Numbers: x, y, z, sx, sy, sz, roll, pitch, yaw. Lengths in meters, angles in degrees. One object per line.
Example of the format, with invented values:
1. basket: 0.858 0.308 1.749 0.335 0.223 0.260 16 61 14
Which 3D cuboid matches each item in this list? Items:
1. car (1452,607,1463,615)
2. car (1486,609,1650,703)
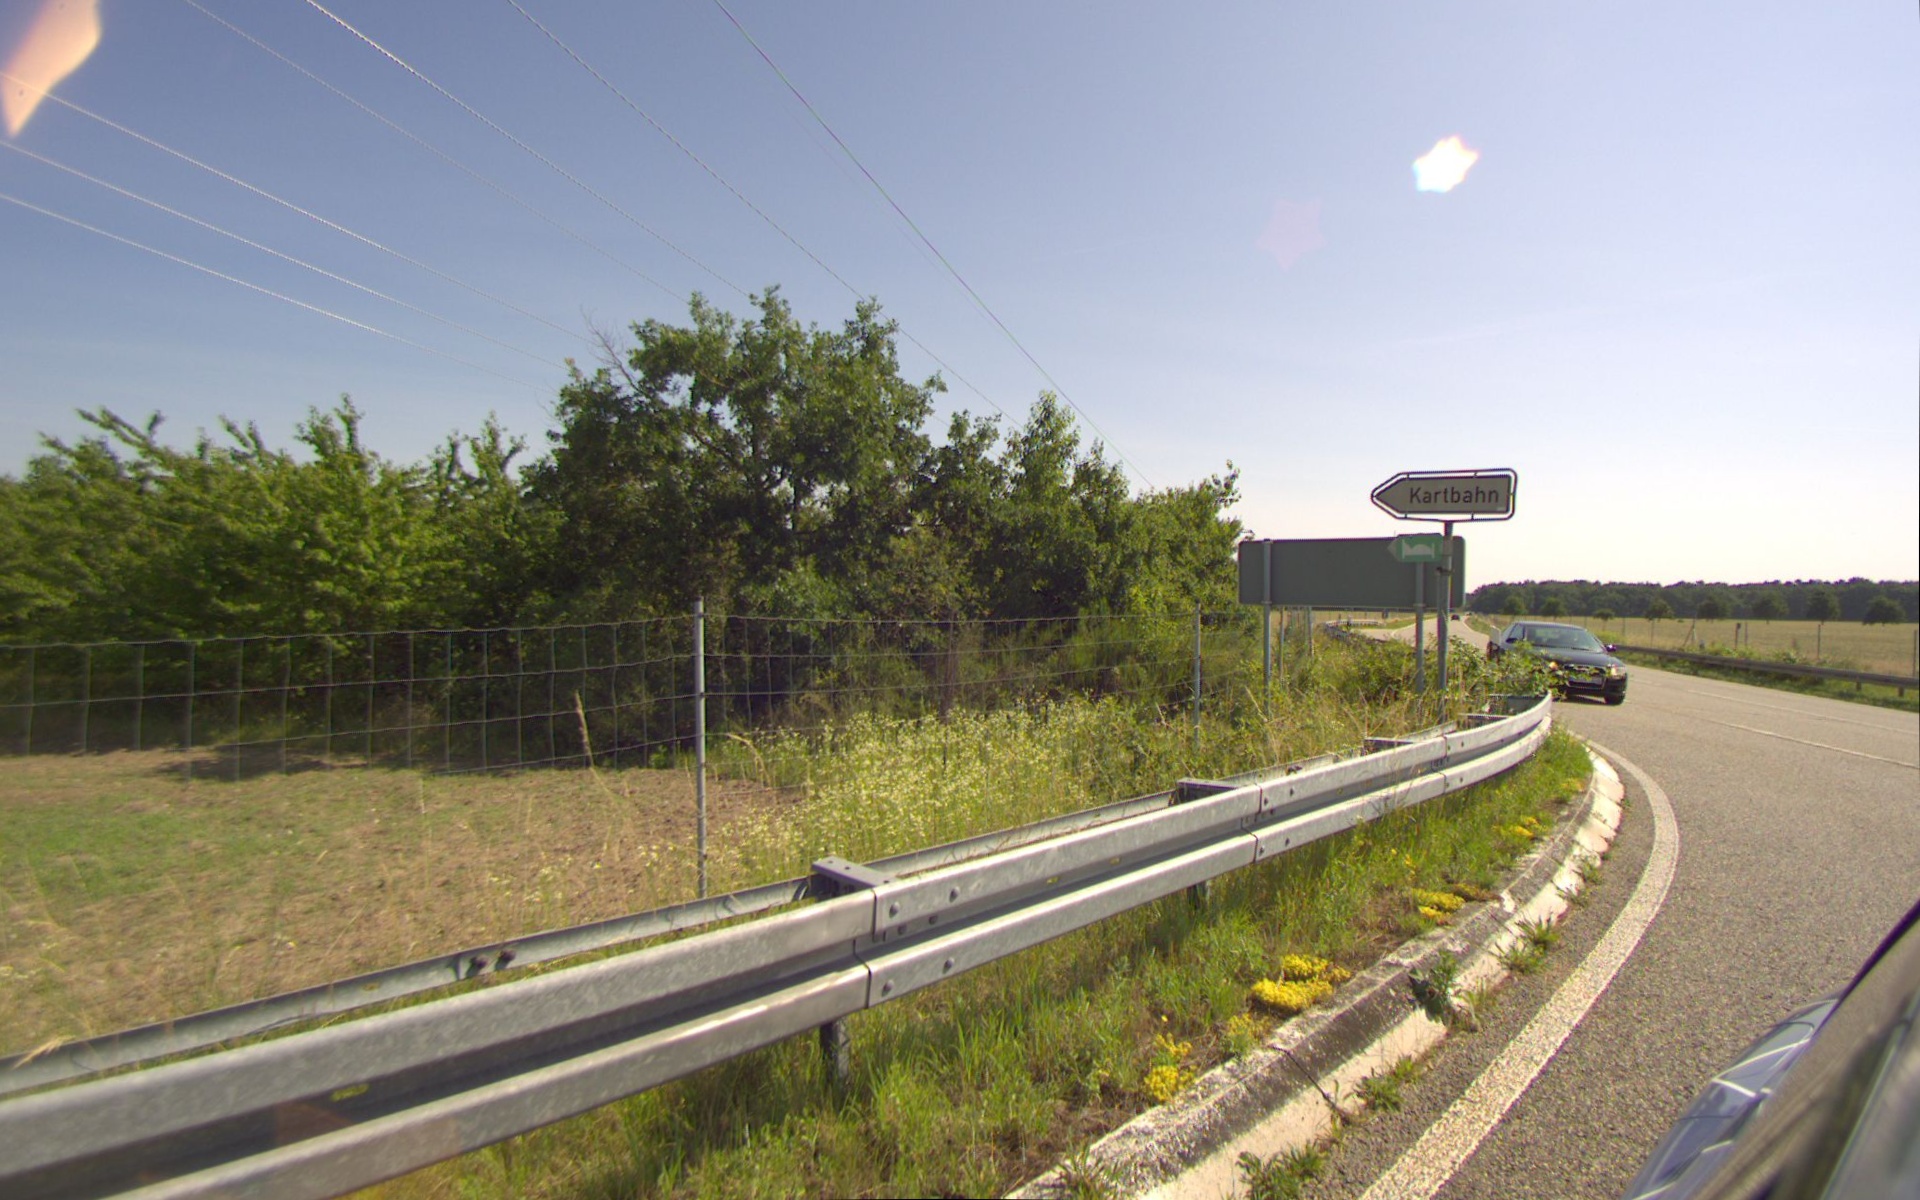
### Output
1. car: 107.320 2.328 218.330 1.814 1.526 4.130 4 1 23
2. car: 11.727 0.994 19.830 1.865 1.474 4.049 4 1 19
